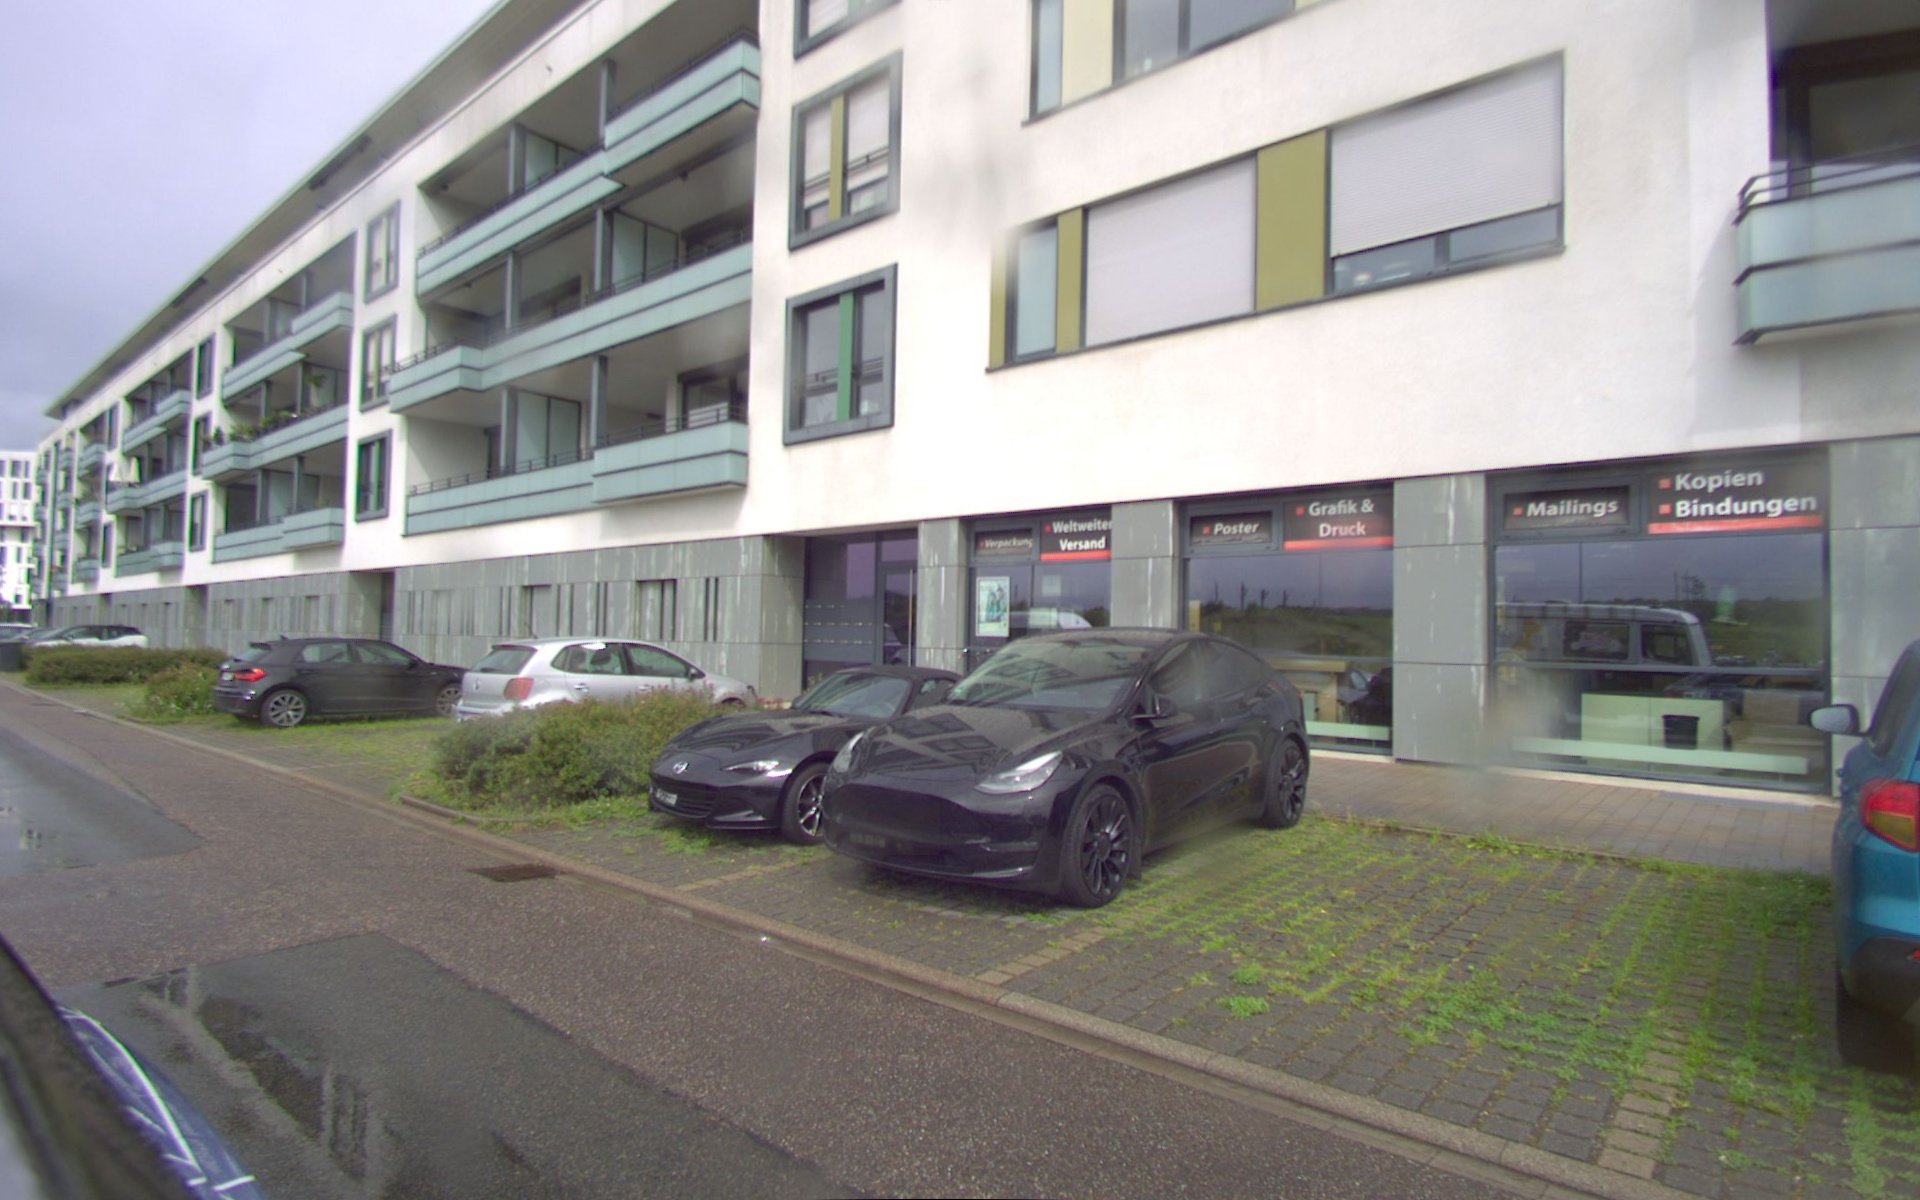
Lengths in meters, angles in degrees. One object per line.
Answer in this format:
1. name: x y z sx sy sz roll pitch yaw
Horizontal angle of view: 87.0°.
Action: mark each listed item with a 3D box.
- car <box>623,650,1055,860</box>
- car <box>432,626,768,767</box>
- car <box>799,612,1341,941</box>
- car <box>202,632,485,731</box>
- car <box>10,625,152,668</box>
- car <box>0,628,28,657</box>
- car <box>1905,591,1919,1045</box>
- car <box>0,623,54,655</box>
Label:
1. car: -0.844 1.119 8.591 1.538 1.192 3.568 -1 0 40
2. car: -4.341 1.075 12.626 1.684 1.388 3.623 -2 -1 38
3. car: 1.046 0.899 7.185 1.858 1.561 4.130 -1 0 40
4. car: -10.107 1.262 16.786 1.644 1.383 3.692 -1 -1 41
5. car: -32.328 1.677 37.287 1.743 1.381 3.750 -1 0 40
6. car: -49.884 2.197 51.284 1.743 1.381 3.750 -1 0 40
7. car: 4.842 0.781 3.866 1.755 1.646 3.769 -1 0 43
8. car: -43.978 1.807 46.181 1.743 1.381 3.750 -1 0 40
